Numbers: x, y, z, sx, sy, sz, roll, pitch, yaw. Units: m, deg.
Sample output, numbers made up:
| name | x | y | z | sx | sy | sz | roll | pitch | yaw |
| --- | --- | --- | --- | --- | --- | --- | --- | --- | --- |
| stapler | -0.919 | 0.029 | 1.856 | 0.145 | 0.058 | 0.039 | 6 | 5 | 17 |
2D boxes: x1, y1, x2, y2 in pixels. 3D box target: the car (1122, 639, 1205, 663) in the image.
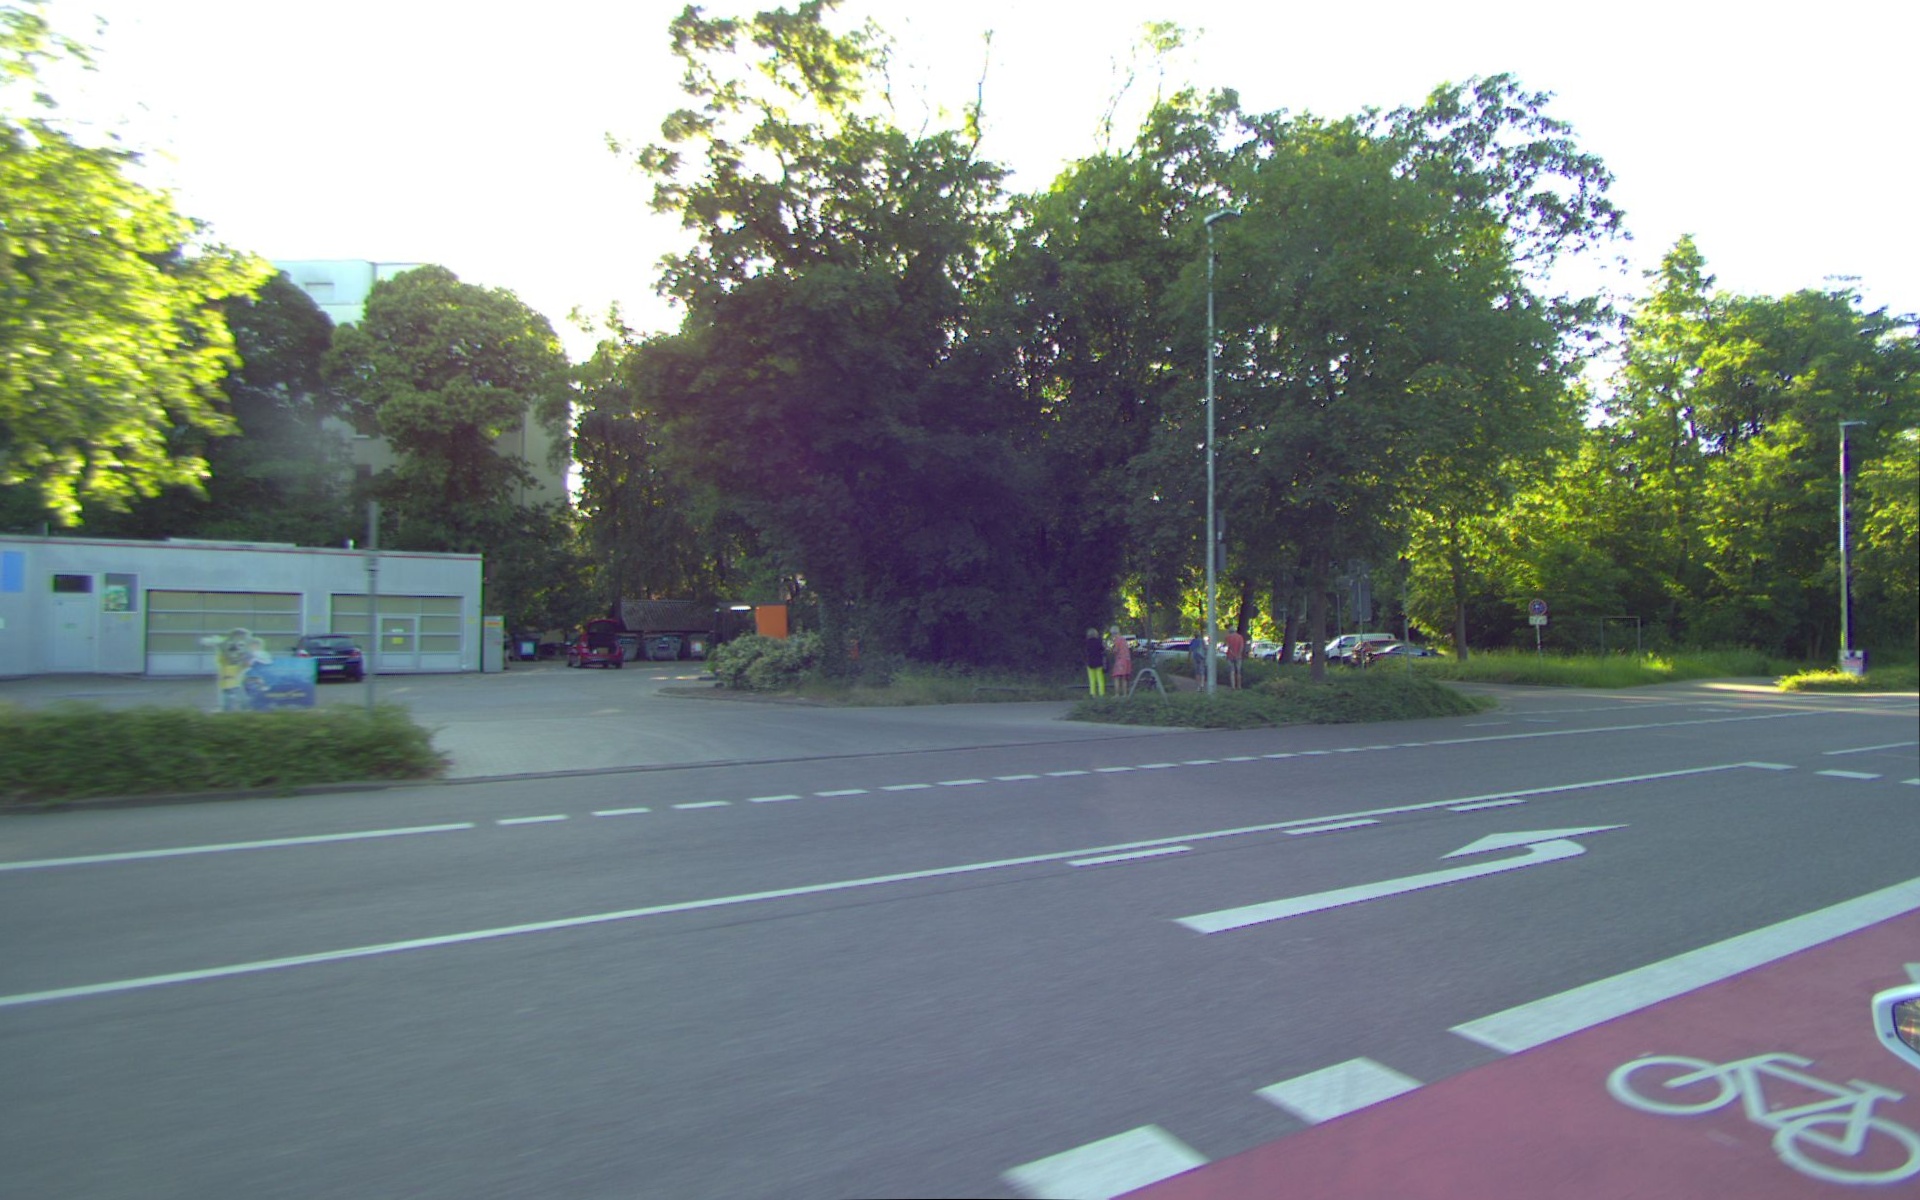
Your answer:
| name | x | y | z | sx | sy | sz | roll | pitch | yaw |
| --- | --- | --- | --- | --- | --- | --- | --- | --- | --- |
| car | 11.367 | 2.837 | 56.360 | 4.325 | 1.332 | 2.001 | 0 | -2 | 2 |

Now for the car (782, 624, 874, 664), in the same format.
| name | x | y | z | sx | sy | sz | roll | pitch | yaw |
| --- | --- | --- | --- | --- | --- | --- | --- | --- | --- |
| car | -6.339 | 2.124 | 48.554 | 4.187 | 1.844 | 2.000 | 0 | -2 | -1 |

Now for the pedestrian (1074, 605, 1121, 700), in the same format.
| name | x | y | z | sx | sy | sz | roll | pitch | yaw |
| --- | --- | --- | --- | --- | --- | --- | --- | --- | --- |
| pedestrian | 3.005 | 1.143 | 21.969 | 0.786 | 2.040 | 0.715 | 1 | -2 | -23 |

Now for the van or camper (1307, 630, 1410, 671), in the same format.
| name | x | y | z | sx | sy | sz | roll | pitch | yaw |
| --- | --- | --- | --- | --- | --- | --- | --- | --- | --- |
| van or camper | 23.840 | 3.004 | 60.158 | 5.313 | 2.040 | 2.000 | 3 | -1 | -1 |

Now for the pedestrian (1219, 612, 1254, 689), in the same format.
| name | x | y | z | sx | sy | sz | roll | pitch | yaw |
| --- | --- | --- | --- | --- | --- | --- | --- | --- | --- |
| pedestrian | 7.456 | 1.350 | 27.108 | 0.732 | 2.040 | 0.719 | 0 | -2 | 1 |

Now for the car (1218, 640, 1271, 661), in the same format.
| name | x | y | z | sx | sy | sz | roll | pitch | yaw |
| --- | --- | --- | --- | --- | --- | --- | --- | --- | --- |
| car | 24.241 | 4.276 | 85.614 | 3.922 | 1.761 | 2.000 | 0 | -2 | -2 |

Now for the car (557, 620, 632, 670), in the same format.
| name | x | y | z | sx | sy | sz | roll | pitch | yaw |
| --- | --- | --- | --- | --- | --- | --- | --- | --- | --- |
| car | -15.401 | 1.874 | 42.256 | 1.980 | 2.007 | 3.961 | 1 | -2 | -35 |

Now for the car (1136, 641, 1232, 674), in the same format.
| name | x | y | z | sx | sy | sz | roll | pitch | yaw |
| --- | --- | --- | --- | --- | --- | --- | --- | --- | --- |
| car | 10.958 | 2.804 | 49.336 | 4.325 | 1.564 | 2.001 | 0 | -2 | 2 |

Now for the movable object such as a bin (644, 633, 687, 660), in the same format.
| name | x | y | z | sx | sy | sz | roll | pitch | yaw |
| --- | --- | --- | --- | --- | --- | --- | --- | --- | --- |
| movable object such as a bin | -15.896 | 2.525 | 54.146 | 2.088 | 1.386 | 1.379 | 2 | 0 | -23 |

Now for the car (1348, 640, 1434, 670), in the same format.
| name | x | y | z | sx | sy | sz | roll | pitch | yaw |
| --- | --- | --- | --- | --- | --- | --- | --- | --- | --- |
| car | 23.675 | 3.011 | 55.313 | 3.919 | 1.546 | 2.001 | 0 | -2 | 4 |

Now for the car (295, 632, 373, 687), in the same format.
| name | x | y | z | sx | sy | sz | roll | pitch | yaw |
| --- | --- | --- | --- | --- | --- | --- | --- | --- | --- |
| car | -19.491 | 1.795 | 31.205 | 1.880 | 1.576 | 3.962 | 1 | -3 | -34 |

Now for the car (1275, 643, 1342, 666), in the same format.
| name | x | y | z | sx | sy | sz | roll | pitch | yaw |
| --- | --- | --- | --- | --- | --- | --- | --- | --- | --- |
| car | 23.384 | 3.629 | 67.455 | 3.923 | 1.486 | 1.673 | 0 | -2 | -3 |

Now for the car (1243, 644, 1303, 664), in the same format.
| name | x | y | z | sx | sy | sz | roll | pitch | yaw |
| --- | --- | --- | --- | --- | --- | --- | --- | --- | --- |
| car | 23.448 | 4.040 | 75.323 | 3.923 | 1.486 | 1.673 | 0 | -2 | -3 |

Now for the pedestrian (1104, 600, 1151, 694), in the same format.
| name | x | y | z | sx | sy | sz | roll | pitch | yaw |
| --- | --- | --- | --- | --- | --- | --- | --- | --- | --- |
| pedestrian | 3.716 | 1.043 | 22.303 | 0.786 | 2.040 | 0.715 | 1 | -2 | -24 |

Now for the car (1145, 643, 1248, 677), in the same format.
| name | x | y | z | sx | sy | sz | roll | pitch | yaw |
| --- | --- | --- | --- | --- | --- | --- | --- | --- | --- |
| car | 10.926 | 2.776 | 46.605 | 4.325 | 1.501 | 2.001 | 0 | -2 | 2 |

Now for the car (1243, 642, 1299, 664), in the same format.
| name | x | y | z | sx | sy | sz | roll | pitch | yaw |
| --- | --- | --- | --- | --- | --- | --- | --- | --- | --- |
| car | 25.045 | 4.239 | 80.958 | 3.922 | 1.761 | 2.000 | 0 | -2 | -2 |

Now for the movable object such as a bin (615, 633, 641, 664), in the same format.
| name | x | y | z | sx | sy | sz | roll | pitch | yaw |
| --- | --- | --- | --- | --- | --- | --- | --- | --- | --- |
| movable object such as a bin | -17.517 | 2.546 | 52.977 | 1.200 | 1.547 | 1.297 | 1 | 0 | -22 |

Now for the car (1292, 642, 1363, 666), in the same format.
| name | x | y | z | sx | sy | sz | roll | pitch | yaw |
| --- | --- | --- | --- | --- | --- | --- | --- | --- | --- |
| car | 23.469 | 3.438 | 64.249 | 3.923 | 1.486 | 1.673 | 0 | -2 | -3 |

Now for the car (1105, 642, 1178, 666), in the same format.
| name | x | y | z | sx | sy | sz | roll | pitch | yaw |
| --- | --- | --- | --- | --- | --- | --- | --- | --- | --- |
| car | 11.848 | 3.512 | 65.759 | 4.410 | 1.564 | 2.001 | 0 | -2 | 2 |

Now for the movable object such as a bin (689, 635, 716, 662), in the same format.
| name | x | y | z | sx | sy | sz | roll | pitch | yaw |
| --- | --- | --- | --- | --- | --- | --- | --- | --- | --- |
| movable object such as a bin | -13.756 | 2.574 | 53.711 | 1.200 | 1.386 | 1.297 | 1 | 0 | -22 |

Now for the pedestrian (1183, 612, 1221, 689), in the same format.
| name | x | y | z | sx | sy | sz | roll | pitch | yaw |
| --- | --- | --- | --- | --- | --- | --- | --- | --- | --- |
| pedestrian | 6.513 | 1.361 | 27.060 | 0.857 | 2.040 | 0.719 | 0 | -2 | 1 |

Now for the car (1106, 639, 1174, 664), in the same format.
| name | x | y | z | sx | sy | sz | roll | pitch | yaw |
| --- | --- | --- | --- | --- | --- | --- | --- | --- | --- |
| car | 12.414 | 3.536 | 69.403 | 4.410 | 1.725 | 2.001 | 0 | -2 | 2 |

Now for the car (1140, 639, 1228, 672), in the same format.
| name | x | y | z | sx | sy | sz | roll | pitch | yaw |
| --- | --- | --- | --- | --- | --- | --- | --- | --- | --- |
| car | 11.948 | 2.936 | 53.776 | 4.325 | 1.711 | 2.001 | 0 | -2 | 2 |
